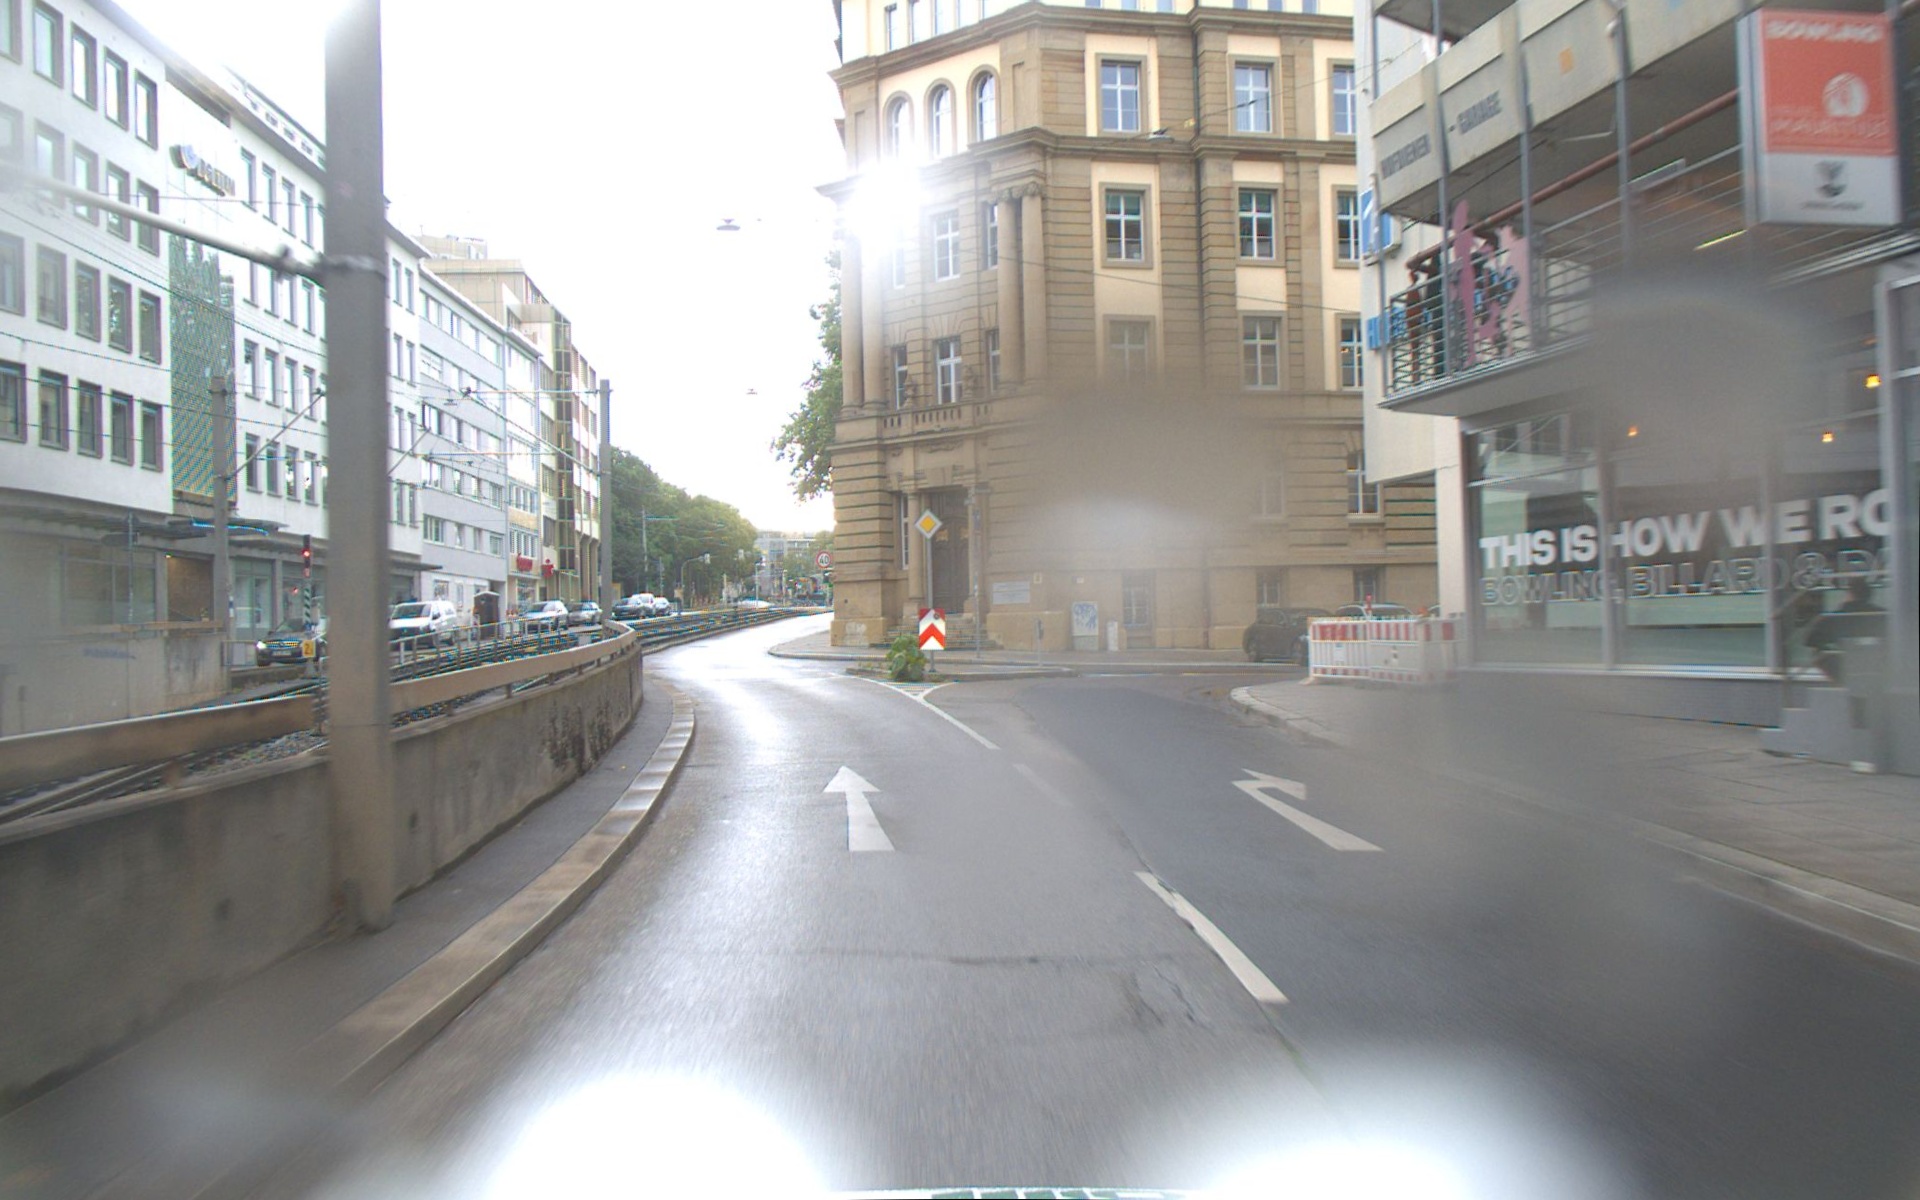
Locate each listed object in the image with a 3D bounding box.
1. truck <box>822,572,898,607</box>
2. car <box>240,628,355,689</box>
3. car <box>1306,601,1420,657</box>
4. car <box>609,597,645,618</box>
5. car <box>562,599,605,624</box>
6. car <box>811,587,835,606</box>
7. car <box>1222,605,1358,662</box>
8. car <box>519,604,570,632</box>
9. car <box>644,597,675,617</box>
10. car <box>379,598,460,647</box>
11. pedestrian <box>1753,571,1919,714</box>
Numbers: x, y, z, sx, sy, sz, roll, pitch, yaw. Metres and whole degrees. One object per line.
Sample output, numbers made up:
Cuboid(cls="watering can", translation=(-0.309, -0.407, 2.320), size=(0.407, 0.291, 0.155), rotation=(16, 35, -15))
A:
Cuboid(cls="truck", translation=(-10.030, -1.058, 165.716), size=(7.751, 3.446, 1.997), rotation=(1, 0, 28))
Cuboid(cls="car", translation=(-18.581, 1.616, 46.546), size=(1.954, 1.554, 3.660), rotation=(0, 0, -4))
Cuboid(cls="car", translation=(11.089, 0.764, 45.803), size=(1.701, 1.480, 4.324), rotation=(0, 0, -6))
Cuboid(cls="car", translation=(-23.986, 0.508, 119.359), size=(1.954, 1.482, 4.308), rotation=(0, 0, -4))
Cuboid(cls="car", translation=(-23.313, 0.712, 102.587), size=(1.954, 1.482, 4.308), rotation=(0, 0, -4))
Cuboid(cls="car", translation=(-12.158, -0.319, 146.986), size=(1.954, 1.691, 3.997), rotation=(0, 0, -4))
Cuboid(cls="car", translation=(8.648, 0.840, 43.776), size=(1.704, 1.391, 4.987), rotation=(0, 0, -12))
Cuboid(cls="car", translation=(-22.640, 0.972, 90.261), size=(1.954, 1.482, 4.308), rotation=(0, 0, -4))
Cuboid(cls="car", translation=(-23.863, 0.545, 131.385), size=(1.954, 1.482, 4.308), rotation=(0, 0, -4))
Cuboid(cls="car", translation=(-22.025, 0.901, 67.564), size=(1.954, 1.916, 4.923), rotation=(0, 0, -4))
Cuboid(cls="pedestrian", translation=(7.427, 0.336, 13.924), size=(0.740, 1.143, 1.243), rotation=(0, 0, -13))
